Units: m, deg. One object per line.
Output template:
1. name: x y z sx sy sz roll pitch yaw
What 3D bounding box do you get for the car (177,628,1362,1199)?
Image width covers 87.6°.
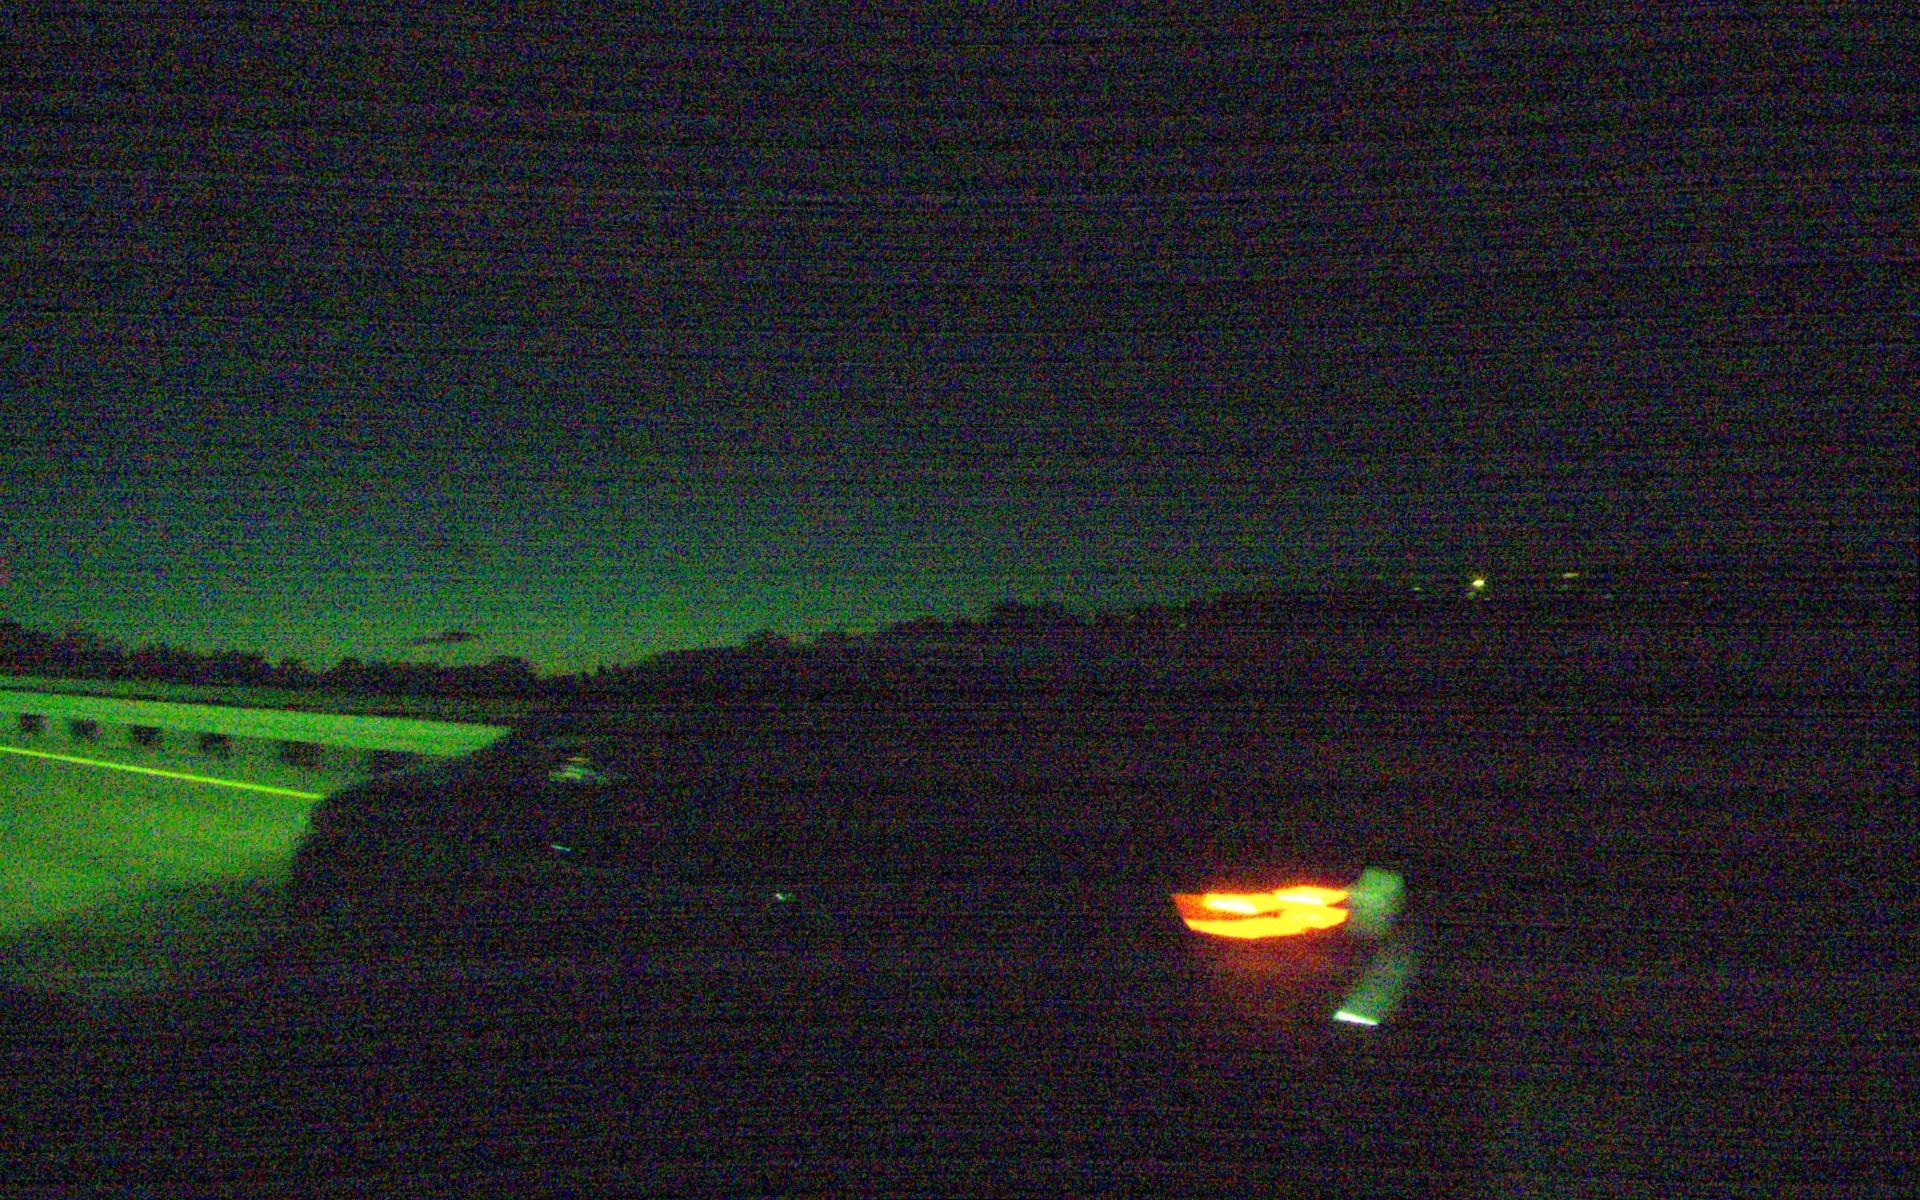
1. car: -1.082 0.862 4.061 4.805 1.445 1.804 -1 0 33
